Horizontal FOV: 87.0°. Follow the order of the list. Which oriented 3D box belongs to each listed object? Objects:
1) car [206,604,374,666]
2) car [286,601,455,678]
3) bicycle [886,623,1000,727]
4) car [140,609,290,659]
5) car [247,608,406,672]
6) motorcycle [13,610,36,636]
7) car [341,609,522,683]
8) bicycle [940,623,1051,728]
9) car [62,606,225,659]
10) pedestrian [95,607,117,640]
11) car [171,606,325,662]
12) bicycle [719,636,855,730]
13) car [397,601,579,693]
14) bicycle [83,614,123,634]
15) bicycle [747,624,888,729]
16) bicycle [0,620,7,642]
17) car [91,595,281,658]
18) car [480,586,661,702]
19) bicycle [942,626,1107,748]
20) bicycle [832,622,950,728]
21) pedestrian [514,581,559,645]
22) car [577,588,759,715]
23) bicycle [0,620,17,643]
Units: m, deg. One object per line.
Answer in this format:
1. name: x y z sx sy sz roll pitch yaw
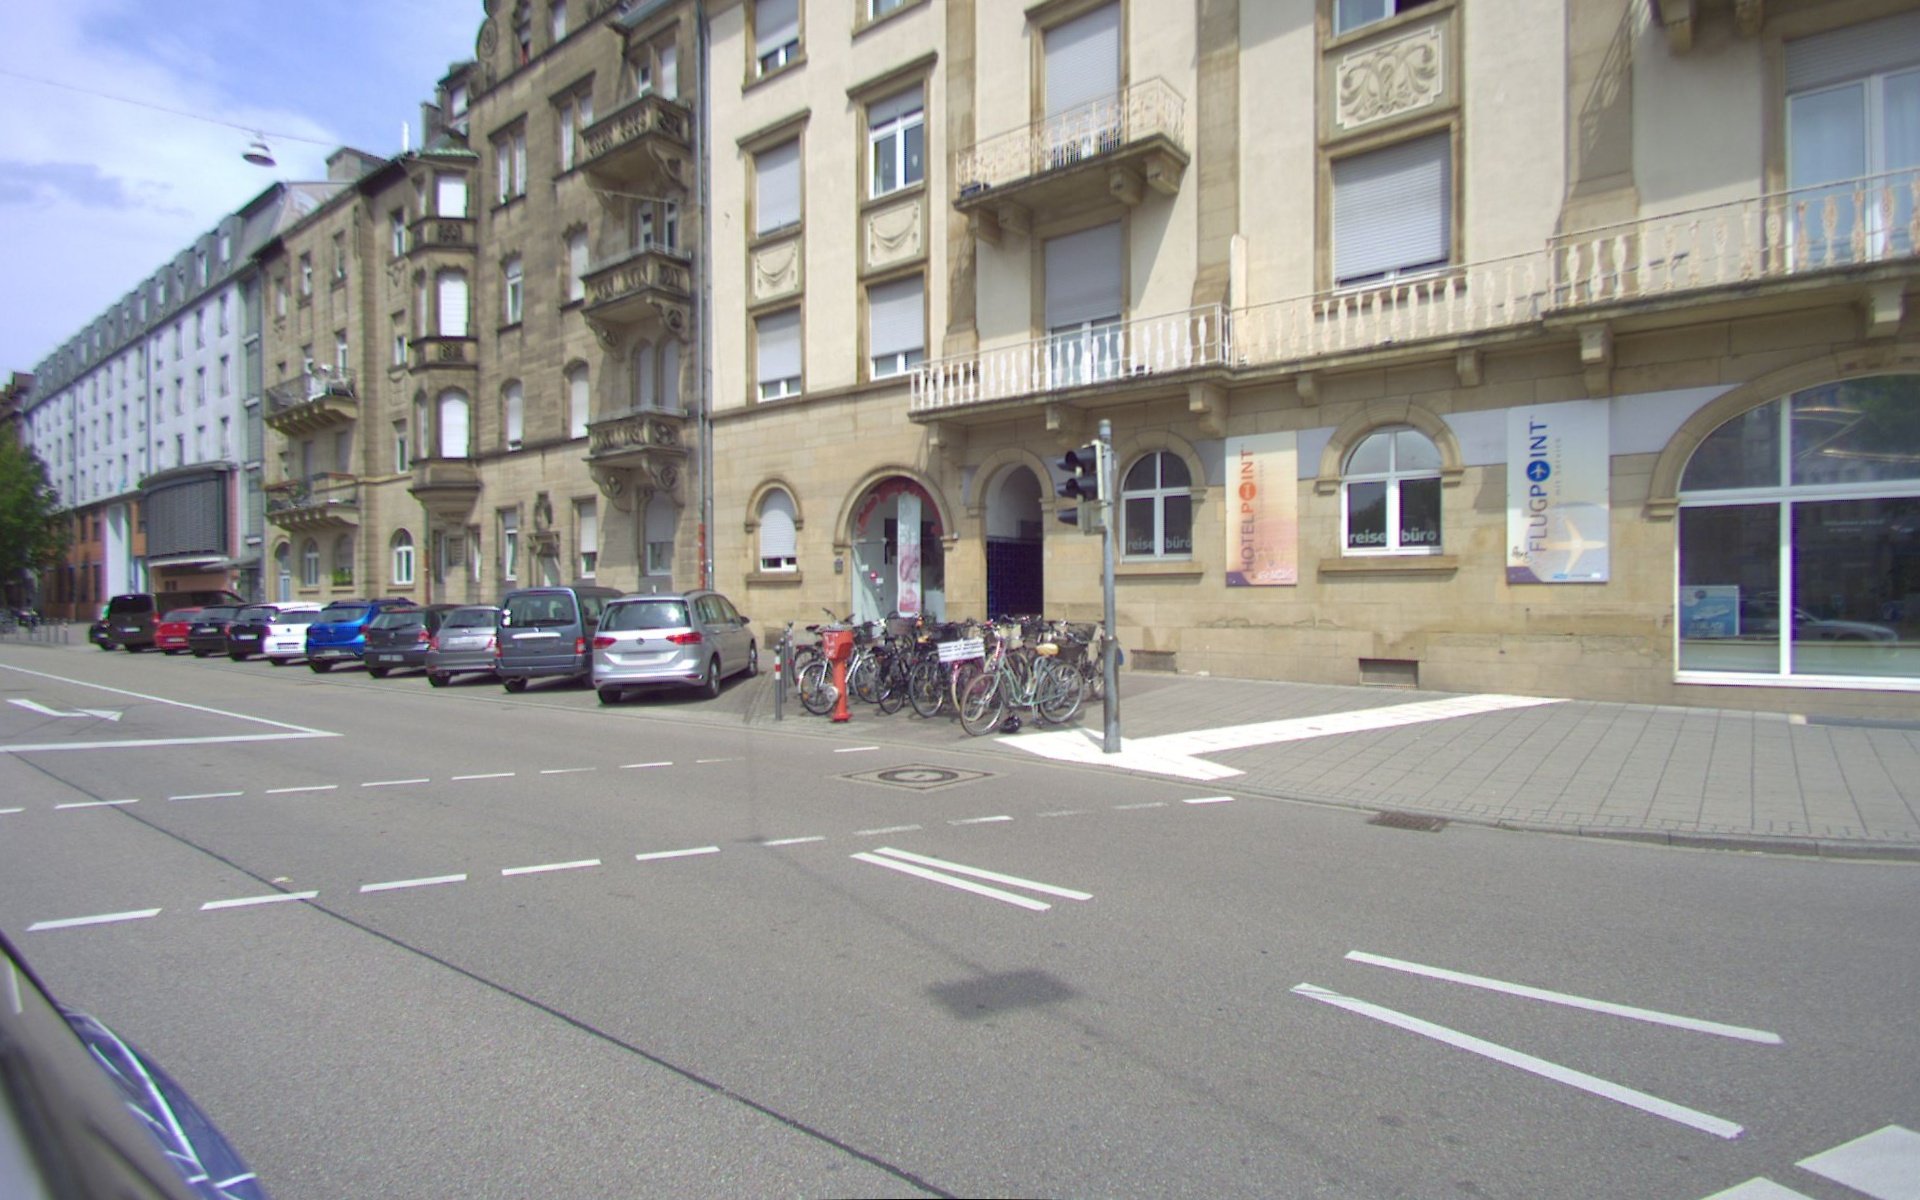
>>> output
1. car: -18.644 0.920 28.403 1.775 1.576 4.004 -1 0 7
2. car: -13.860 0.875 24.064 1.702 1.664 3.775 -1 0 3
3. bicycle: -0.185 0.922 13.071 0.592 1.128 1.796 -1 2 31
4. car: -23.270 1.019 31.796 1.771 1.420 4.012 -1 0 0
5. car: -16.364 0.990 26.348 1.719 1.492 3.682 -1 0 3
6. motorcycle: -45.051 1.100 48.738 1.778 1.181 0.577 -1 1 41
7. car: -11.509 0.942 22.354 1.813 1.454 3.900 -1 0 3
8. bicycle: 0.483 0.909 12.790 0.592 1.128 1.796 -1 2 31
9. car: -28.256 1.063 35.254 1.873 1.419 4.672 -2 2 0
10. pedestrian: -39.742 1.076 47.085 0.507 1.497 0.656 -1 0 27
11. car: -21.089 0.970 30.169 1.610 1.514 3.992 -1 0 4
12. bicycle: -2.309 1.082 13.653 1.788 1.129 0.594 0 0 -45
13. car: -9.304 0.855 20.327 1.771 1.664 4.012 0 0 0
14. bicycle: -48.171 1.330 56.910 1.591 0.933 0.933 -8 4 -39
15. bicycle: -1.824 0.957 13.188 0.594 1.128 1.790 -1 3 43
16. bicycle: -46.335 1.501 48.142 0.401 1.034 1.391 -1 0 41
17. car: -25.680 0.815 33.885 2.094 1.924 5.263 -1 0 5
18. car: -7.013 0.730 18.679 1.771 1.893 4.012 -1 0 0
19. bicycle: 0.744 0.937 11.336 1.849 1.175 0.499 -3 2 -30
20. bicycle: -0.861 0.933 13.207 0.592 1.175 1.796 -1 2 31
21. pedestrian: -10.941 0.323 26.175 0.678 1.606 0.784 -1 2 39
22. car: -4.543 0.731 16.346 1.771 1.787 4.012 -1 0 0
23. bicycle: -45.246 1.502 47.514 0.401 1.034 1.391 -1 0 41
